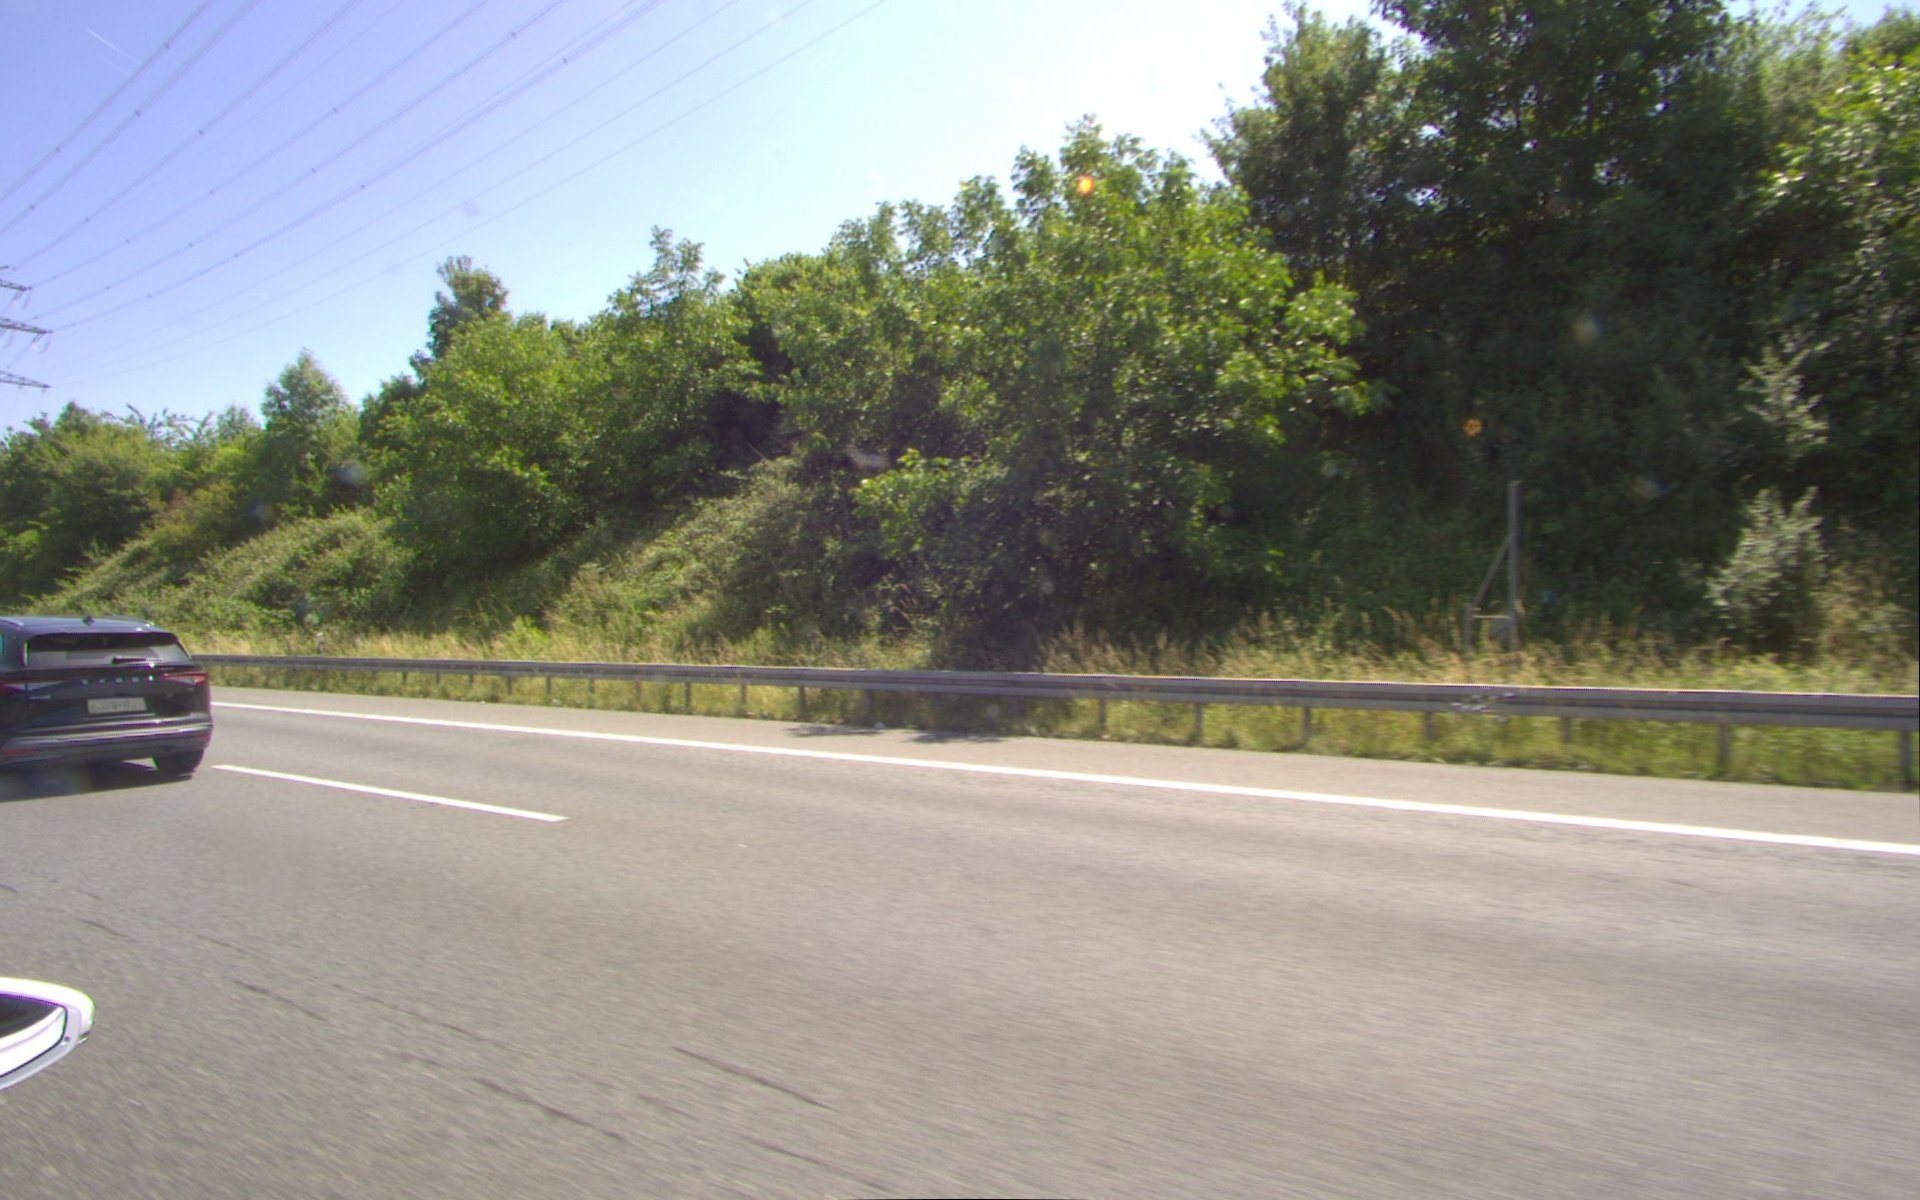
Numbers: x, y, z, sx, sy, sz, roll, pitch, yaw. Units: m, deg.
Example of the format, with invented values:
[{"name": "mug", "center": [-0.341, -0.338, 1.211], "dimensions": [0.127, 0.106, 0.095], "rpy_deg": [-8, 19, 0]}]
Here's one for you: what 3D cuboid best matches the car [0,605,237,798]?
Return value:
[{"name": "car", "center": [-9.528, 0.908, 10.362], "dimensions": [4.367, 1.635, 1.825], "rpy_deg": [-1, -1, 32]}]
